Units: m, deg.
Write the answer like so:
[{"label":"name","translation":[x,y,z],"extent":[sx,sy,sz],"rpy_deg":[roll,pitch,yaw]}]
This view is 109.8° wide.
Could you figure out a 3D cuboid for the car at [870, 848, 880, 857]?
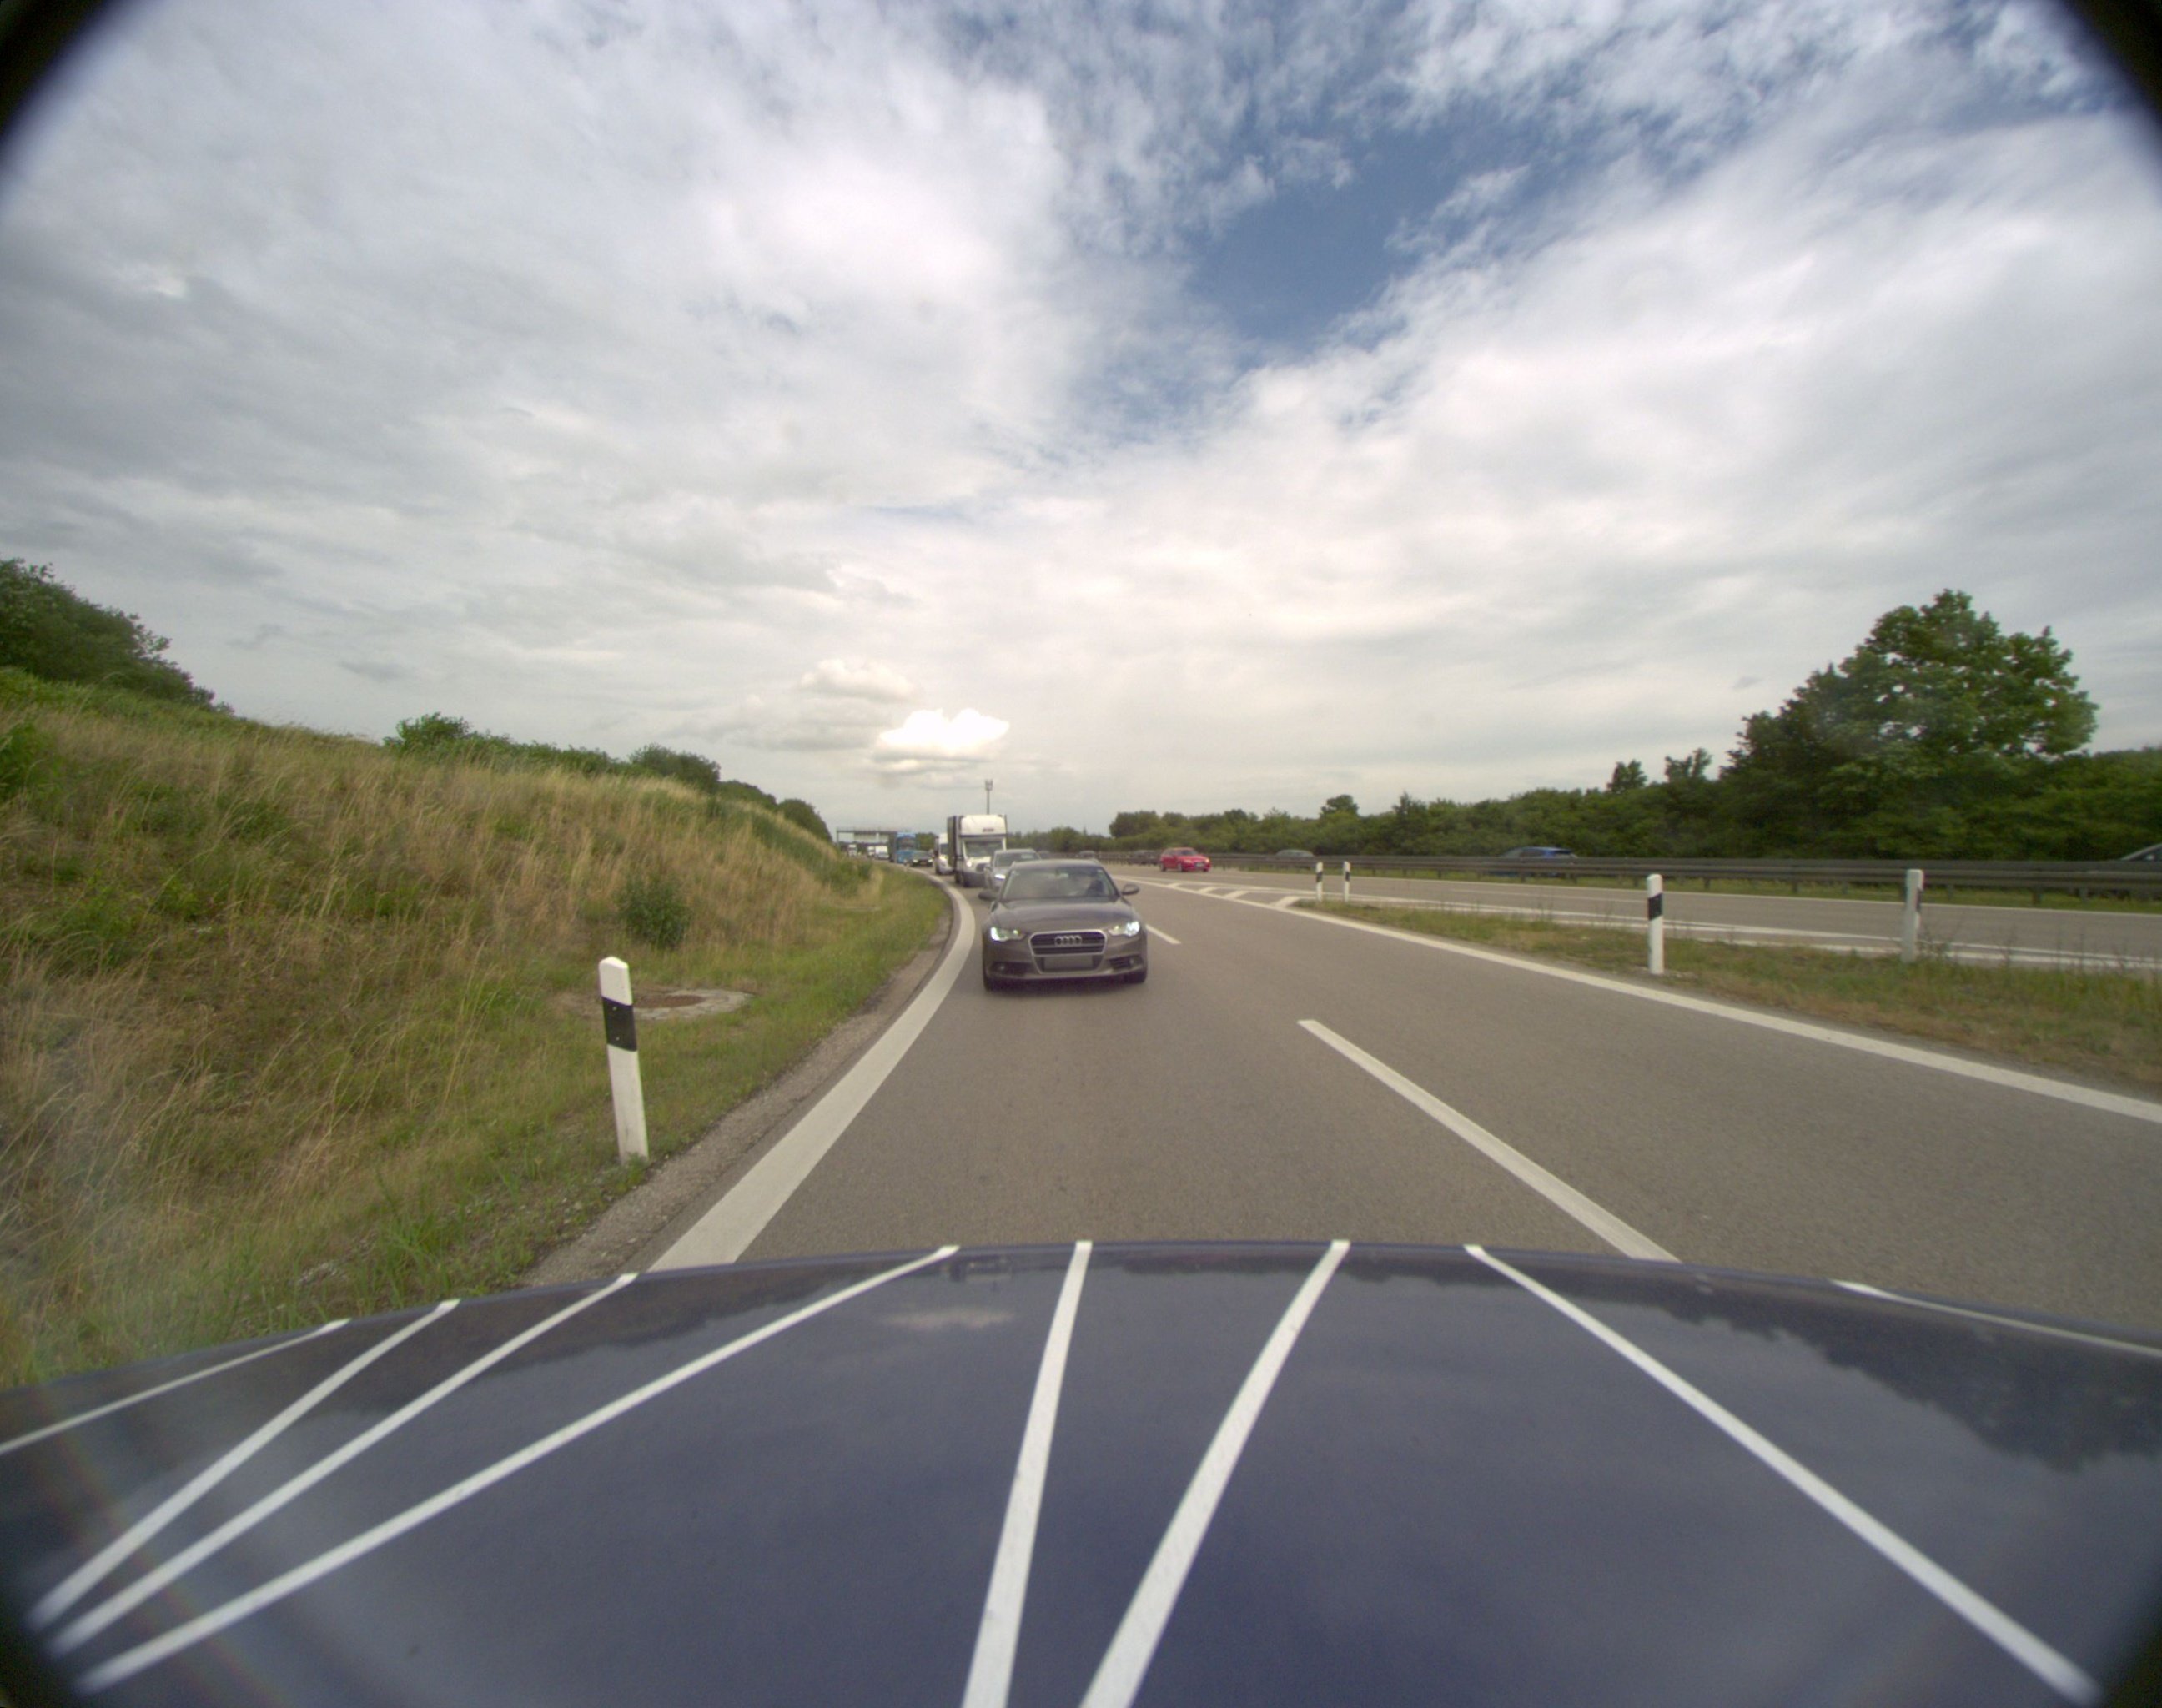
[{"label":"car","translation":[-49.737,-0.380,183.651],"extent":[2.001,2.002,3.993],"rpy_deg":[-3,2,-18]}]

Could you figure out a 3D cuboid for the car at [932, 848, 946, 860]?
[{"label":"car","translation":[-24.851,-0.033,133.312],"extent":[2.001,2.002,3.994],"rpy_deg":[-1,1,-16]}]

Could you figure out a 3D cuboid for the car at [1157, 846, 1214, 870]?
[{"label":"car","translation":[6.195,0.208,45.421],"extent":[1.749,1.334,3.993],"rpy_deg":[-1,1,-19]}]

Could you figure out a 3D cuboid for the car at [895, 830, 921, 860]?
[{"label":"car","translation":[-22.504,-1.207,98.597],"extent":[2.508,3.690,7.689],"rpy_deg":[-1,1,-18]}]

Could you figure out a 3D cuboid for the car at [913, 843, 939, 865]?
[{"label":"car","translation":[-14.550,-0.052,71.213],"extent":[2.001,2.002,3.993],"rpy_deg":[-1,1,-18]}]

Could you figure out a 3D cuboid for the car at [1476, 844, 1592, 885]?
[{"label":"car","translation":[19.348,0.413,32.653],"extent":[2.001,1.619,3.993],"rpy_deg":[-1,1,-17]}]

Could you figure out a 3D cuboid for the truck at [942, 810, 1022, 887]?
[{"label":"truck","translation":[-4.765,-0.281,35.315],"extent":[2.452,3.217,7.179],"rpy_deg":[-1,1,-17]}]

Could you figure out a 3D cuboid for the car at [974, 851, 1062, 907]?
[{"label":"car","translation":[-2.085,0.713,24.021],"extent":[2.001,1.567,3.994],"rpy_deg":[-1,1,-16]}]

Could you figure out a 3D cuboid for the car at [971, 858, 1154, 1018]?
[{"label":"car","translation":[-0.358,0.874,9.842],"extent":[1.849,1.489,4.026],"rpy_deg":[-2,1,-5]}]

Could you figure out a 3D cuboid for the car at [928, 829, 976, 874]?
[{"label":"car","translation":[-8.617,-0.172,50.184],"extent":[2.023,2.729,6.916],"rpy_deg":[-1,1,-19]}]

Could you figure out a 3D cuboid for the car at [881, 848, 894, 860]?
[{"label":"car","translation":[-34.518,-0.026,135.352],"extent":[1.933,2.020,3.993],"rpy_deg":[-1,1,-17]}]

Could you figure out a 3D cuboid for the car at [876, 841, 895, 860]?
[{"label":"car","translation":[-36.678,-0.755,142.225],"extent":[2.950,3.447,6.560],"rpy_deg":[-1,1,-18]}]

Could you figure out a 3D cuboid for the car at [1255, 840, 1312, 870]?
[{"label":"car","translation":[14.059,0.054,52.918],"extent":[1.932,2.002,4.211],"rpy_deg":[-1,1,-16]}]

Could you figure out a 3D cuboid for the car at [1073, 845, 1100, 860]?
[{"label":"car","translation":[0.660,-0.217,91.918],"extent":[2.002,1.674,3.993],"rpy_deg":[-1,1,-18]}]

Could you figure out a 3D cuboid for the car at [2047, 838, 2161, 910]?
[{"label":"car","translation":[24.709,0.441,16.627],"extent":[1.880,1.565,3.993],"rpy_deg":[-1,1,-18]}]
